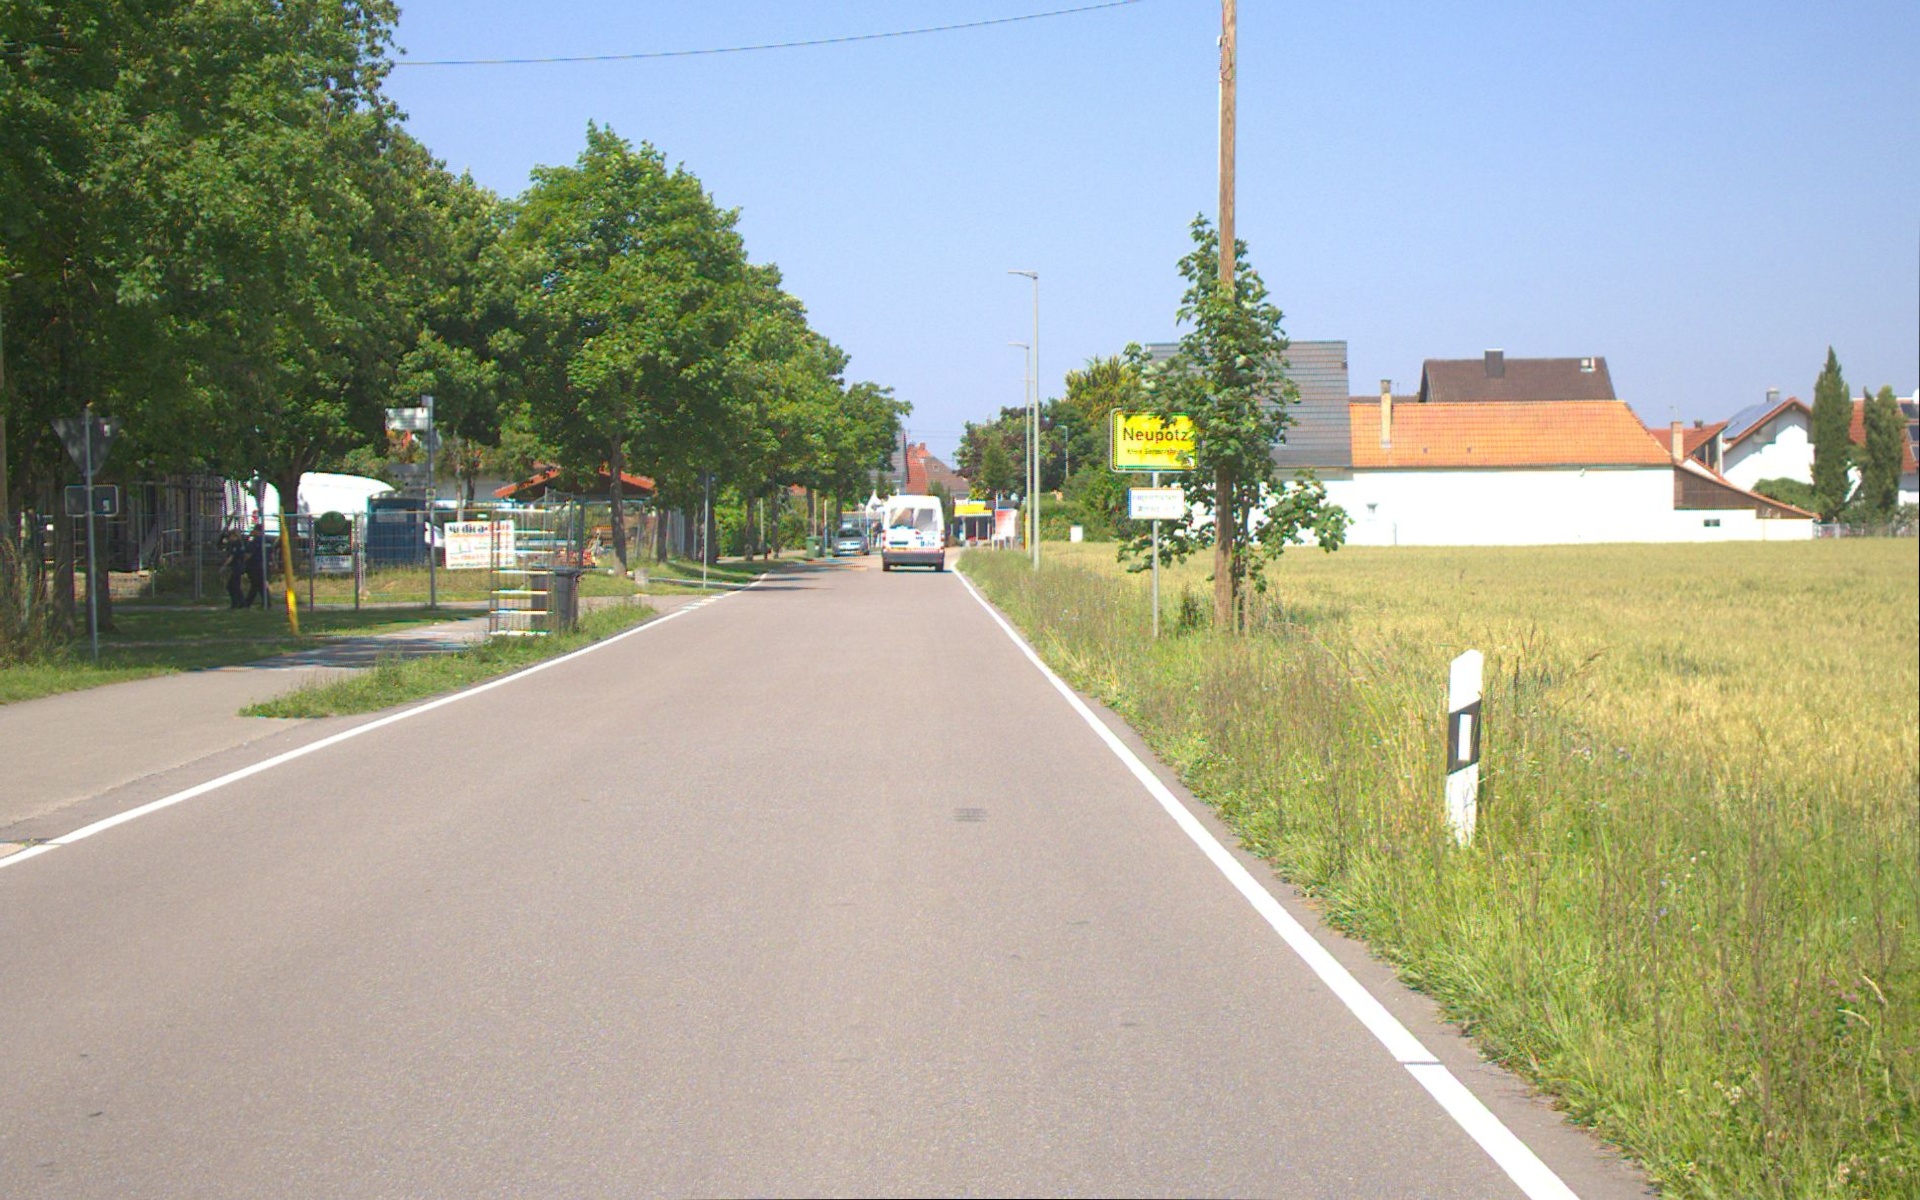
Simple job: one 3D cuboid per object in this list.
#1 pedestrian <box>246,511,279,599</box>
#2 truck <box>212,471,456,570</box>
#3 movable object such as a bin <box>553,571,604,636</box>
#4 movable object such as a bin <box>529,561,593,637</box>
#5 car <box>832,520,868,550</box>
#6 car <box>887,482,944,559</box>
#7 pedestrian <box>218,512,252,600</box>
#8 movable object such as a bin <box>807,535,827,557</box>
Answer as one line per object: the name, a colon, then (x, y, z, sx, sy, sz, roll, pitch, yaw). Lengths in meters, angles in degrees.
pedestrian: (-14.038, -0.906, 69.170, 0.603, 1.745, 0.587, -1, 1, -10)
truck: (-16.076, -2.023, 88.460, 5.914, 2.475, 2.000, -1, 1, -37)
movable object such as a bin: (-5.333, 0.047, 48.059, 0.562, 0.874, 0.613, -1, 1, 7)
movable object such as a bin: (-5.482, -0.014, 47.313, 0.699, 1.020, 0.748, -1, 1, 7)
car: (-5.539, -3.292, 173.629, 1.647, 1.419, 4.080, -3, 1, -1)
car: (-1.477, -2.593, 112.530, 1.737, 2.424, 4.375, -1, 1, -2)
pedestrian: (-14.413, -0.876, 68.391, 0.603, 1.745, 0.587, -1, 1, -10)
movable object such as a bin: (-6.991, -2.639, 168.048, 0.714, 1.075, 0.639, 0, 1, 27)
